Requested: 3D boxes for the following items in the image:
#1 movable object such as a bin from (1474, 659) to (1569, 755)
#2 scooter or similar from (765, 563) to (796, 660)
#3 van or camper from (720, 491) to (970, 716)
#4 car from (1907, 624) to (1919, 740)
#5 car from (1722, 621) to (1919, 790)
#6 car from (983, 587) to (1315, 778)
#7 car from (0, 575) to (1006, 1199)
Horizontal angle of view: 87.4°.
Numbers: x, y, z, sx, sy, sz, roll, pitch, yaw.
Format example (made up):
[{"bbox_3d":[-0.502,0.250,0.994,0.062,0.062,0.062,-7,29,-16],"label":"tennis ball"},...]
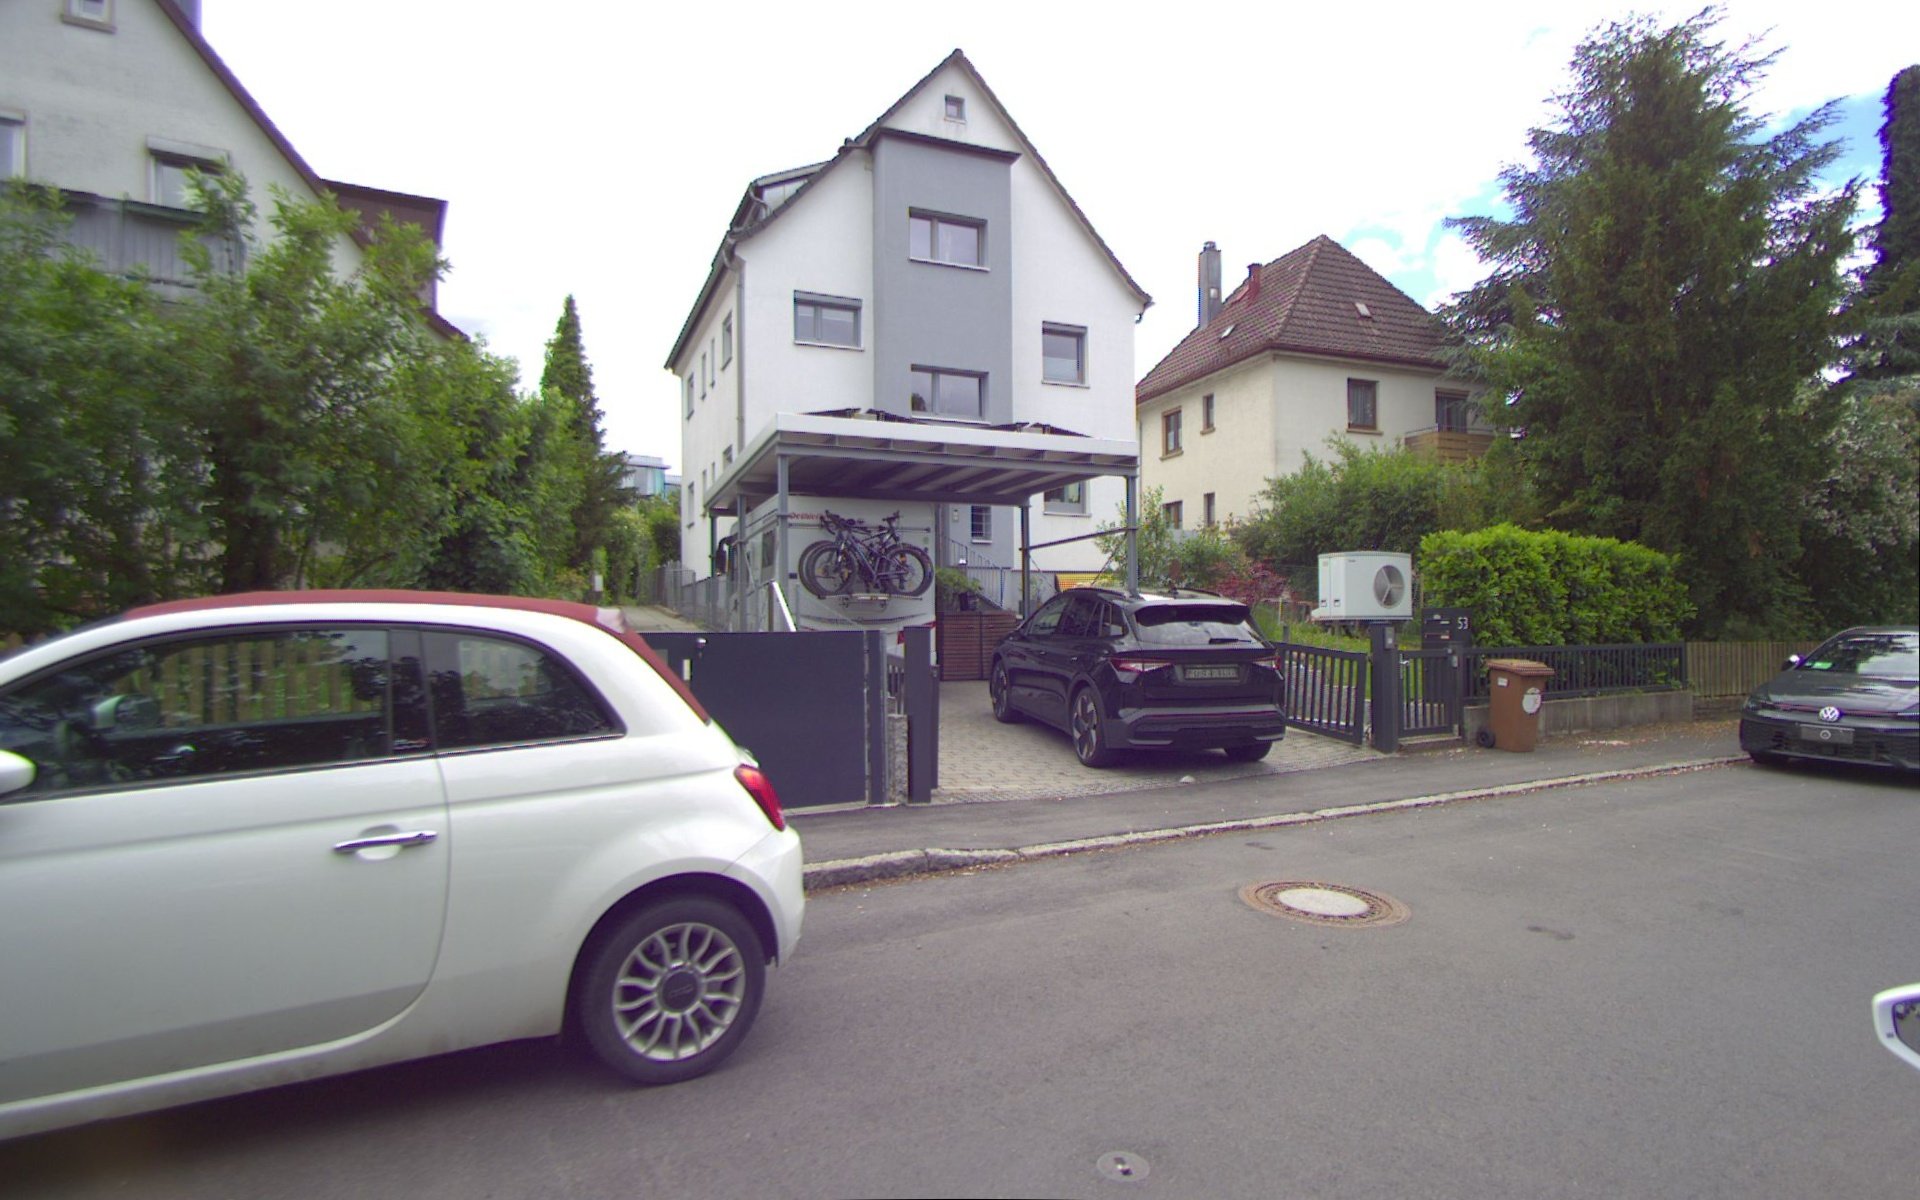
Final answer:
[{"bbox_3d":[5.870,1.099,10.517,0.646,0.934,0.627,1,0,-29],"label":"movable object such as a bin"},{"bbox_3d":[-2.088,0.132,11.633,0.251,1.067,1.166,1,0,-15],"label":"scooter or similar"},{"bbox_3d":[-2.114,-0.011,15.513,2.289,2.686,6.669,1,1,-20],"label":"van or camper"},{"bbox_3d":[14.015,1.042,12.867,4.084,1.435,1.698,1,0,-31],"label":"car"},{"bbox_3d":[9.761,0.949,10.300,4.101,1.435,1.698,1,0,-31],"label":"car"},{"bbox_3d":[1.690,0.667,10.460,1.811,1.568,3.986,1,1,-16],"label":"car"},{"bbox_3d":[-1.934,0.719,3.378,3.900,1.531,1.698,1,0,-31],"label":"car"}]
